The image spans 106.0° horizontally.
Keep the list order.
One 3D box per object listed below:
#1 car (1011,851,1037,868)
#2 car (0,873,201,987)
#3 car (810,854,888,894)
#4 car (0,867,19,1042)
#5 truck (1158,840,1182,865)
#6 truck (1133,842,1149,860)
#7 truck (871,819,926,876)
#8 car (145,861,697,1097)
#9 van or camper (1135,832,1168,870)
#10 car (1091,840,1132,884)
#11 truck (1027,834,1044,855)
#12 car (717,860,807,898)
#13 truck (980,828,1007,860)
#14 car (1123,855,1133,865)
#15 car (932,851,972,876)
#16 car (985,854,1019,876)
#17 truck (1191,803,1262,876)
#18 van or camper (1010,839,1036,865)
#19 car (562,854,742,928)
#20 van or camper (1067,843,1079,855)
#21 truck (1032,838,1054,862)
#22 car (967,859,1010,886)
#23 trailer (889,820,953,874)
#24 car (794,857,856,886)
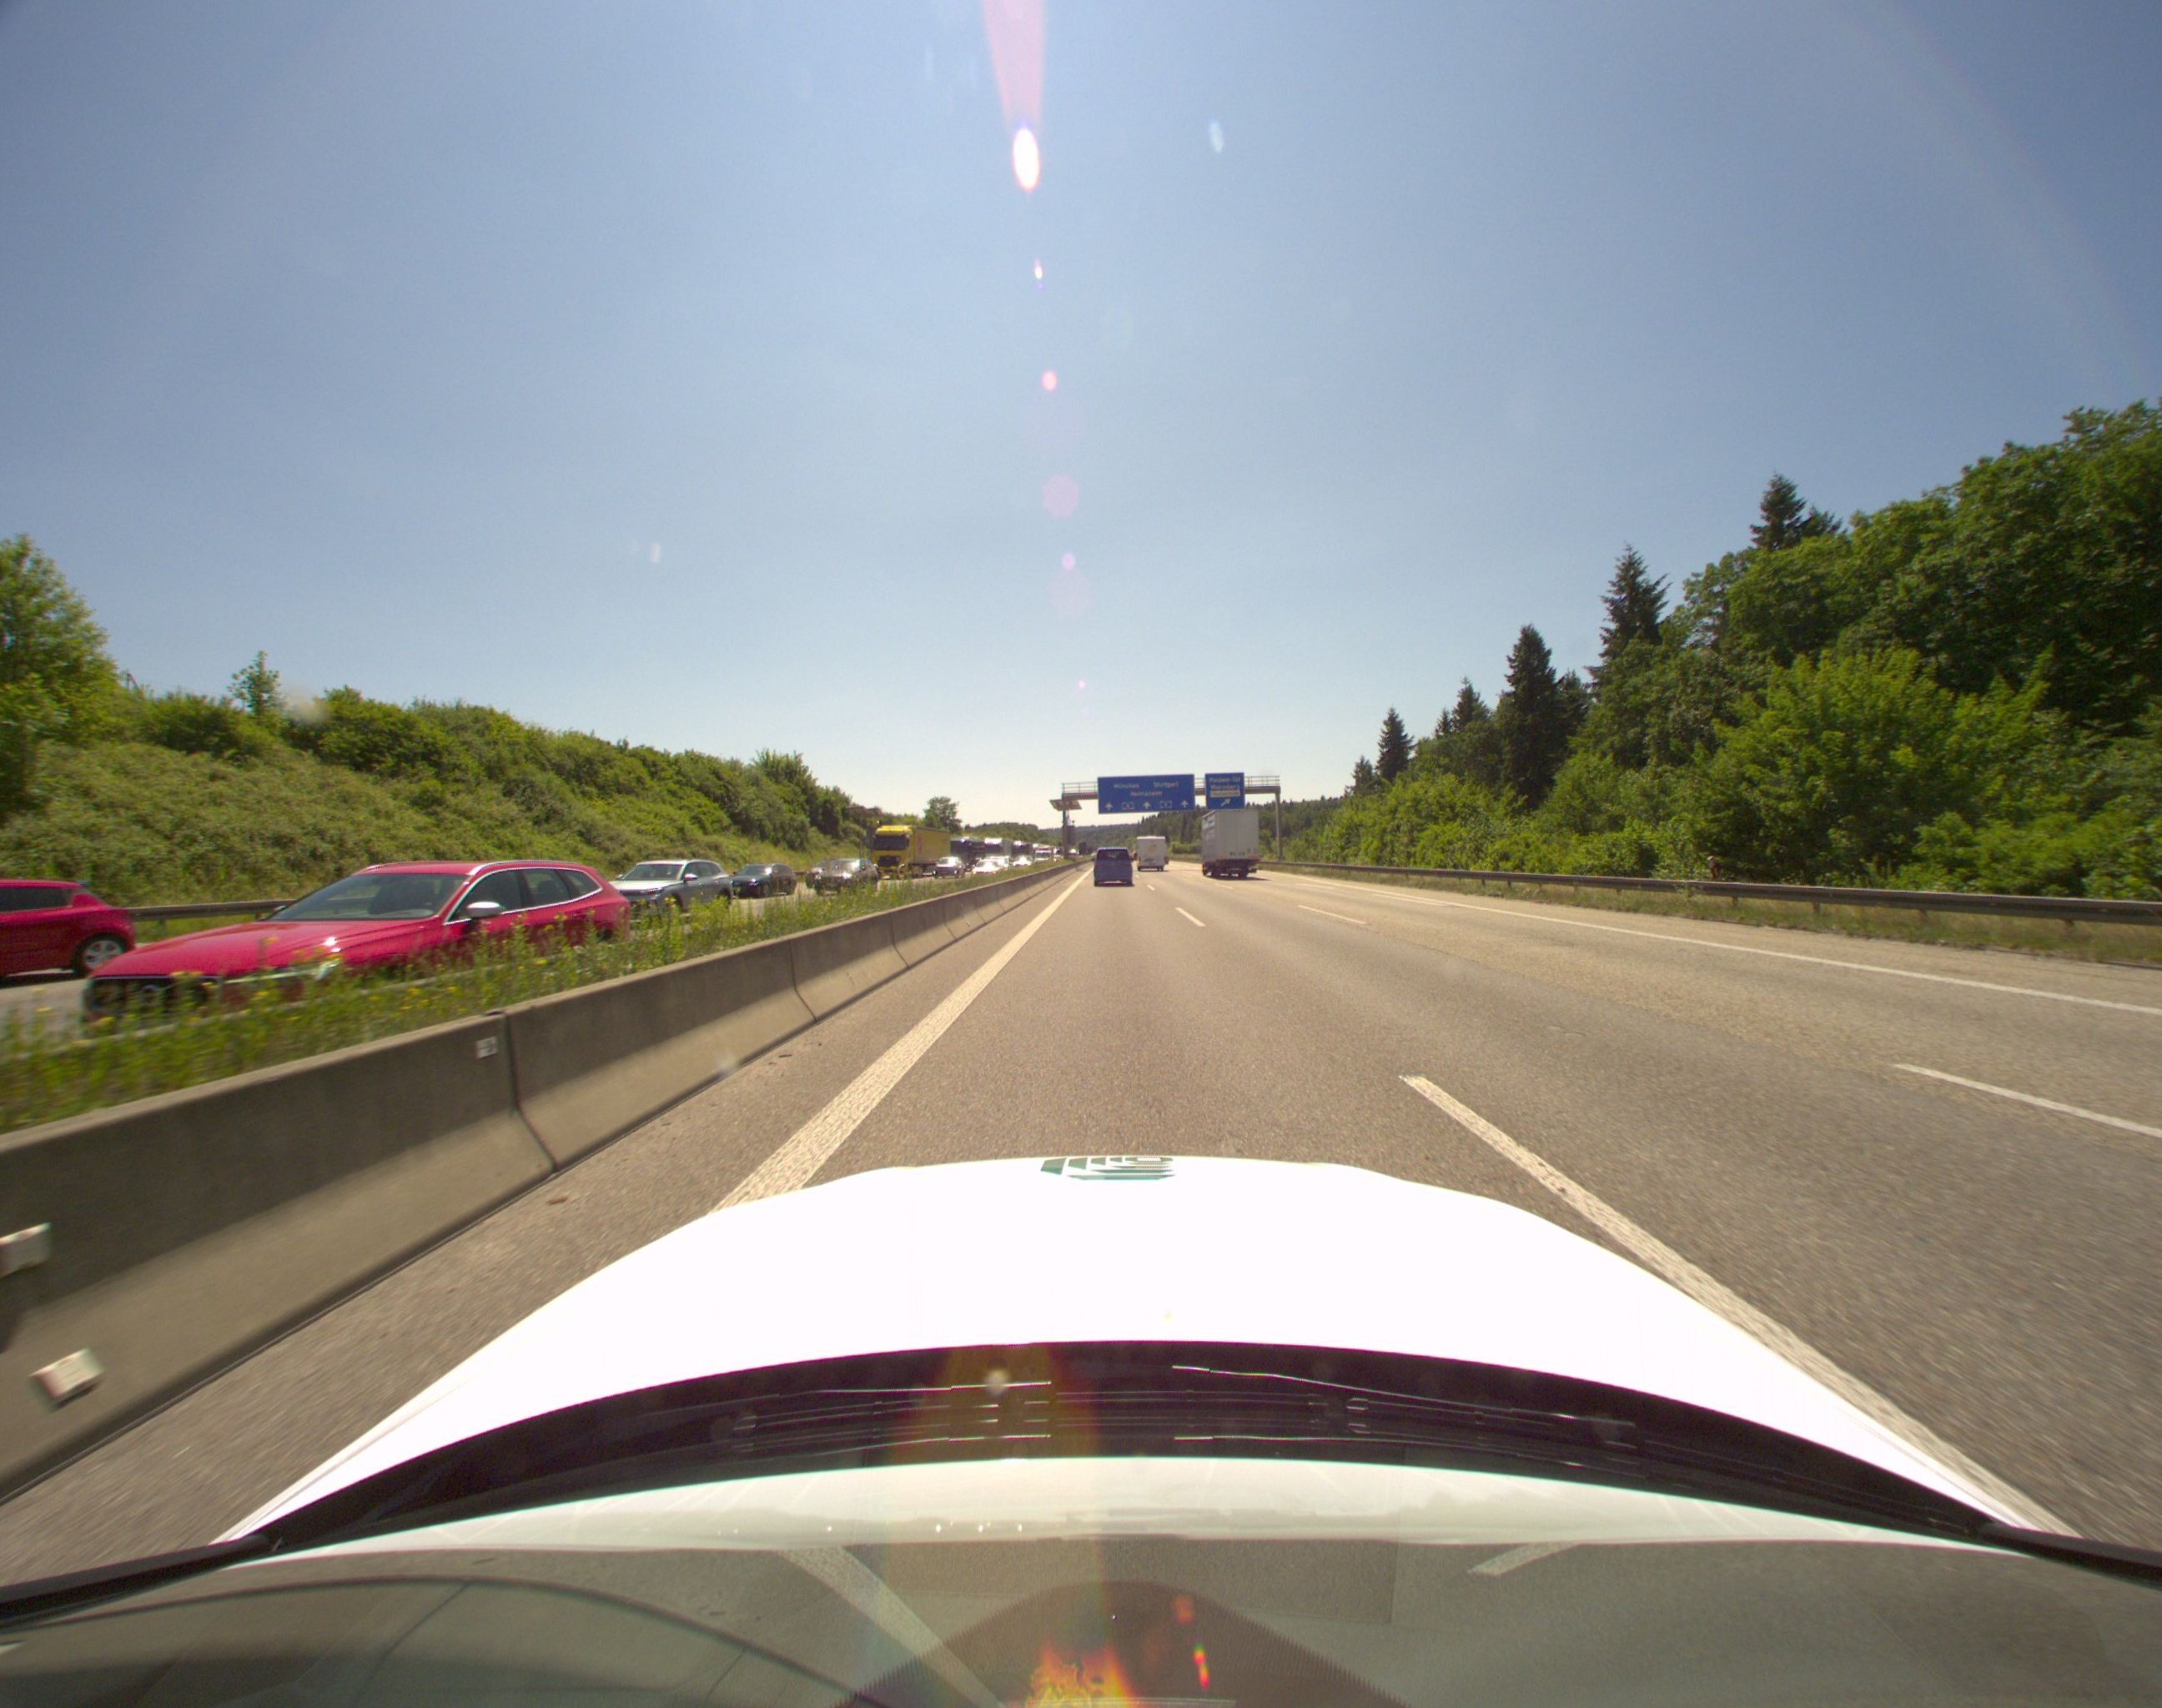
[{"bbox_3d":[-5.181,0.487,74.559,1.804,1.513,5.032,-1,0,2],"label":"car"},{"bbox_3d":[-15.214,1.043,11.125,1.804,1.467,4.124,-1,0,2],"label":"car"},{"bbox_3d":[-10.397,0.858,36.965,1.804,1.629,5.384,-1,0,2],"label":"car"},{"bbox_3d":[-11.115,0.938,5.158,1.804,1.629,5.222,-1,0,2],"label":"car"},{"bbox_3d":[13.342,-0.265,122.147,2.916,3.575,8.532,-3,1,3],"label":"truck"},{"bbox_3d":[13.711,-0.670,186.878,3.473,4.170,8.646,-1,0,2],"label":"truck"},{"bbox_3d":[-13.686,-0.446,61.466,2.592,4.064,6.134,-1,0,1],"label":"truck"},{"bbox_3d":[-6.233,0.980,8.736,1.822,1.764,4.990,-1,0,0],"label":"car"},{"bbox_3d":[6.239,-0.325,72.700,2.593,3.078,7.187,-1,2,2],"label":"van or camper"},{"bbox_3d":[1.507,0.395,40.656,1.902,2.014,4.001,-2,0,1],"label":"car"},{"bbox_3d":[-9.169,-1.787,164.096,2.790,4.128,6.144,-1,0,2],"label":"truck"},{"bbox_3d":[-13.572,1.009,35.019,1.804,1.513,4.800,-1,0,2],"label":"car"},{"bbox_3d":[-11.997,-1.319,112.036,2.771,4.114,7.031,-2,0,1],"label":"truck"},{"bbox_3d":[8.836,1.088,152.895,1.811,1.794,3.896,-1,0,2],"label":"car"},{"bbox_3d":[-9.651,0.675,61.334,1.855,1.752,5.904,-1,0,2],"label":"car"},{"bbox_3d":[-5.733,0.810,59.935,1.804,1.513,5.032,-1,0,2],"label":"car"},{"bbox_3d":[8.947,-0.795,51.292,2.774,4.128,9.738,-1,0,0],"label":"truck"},{"bbox_3d":[-7.894,-0.235,111.796,2.518,3.360,7.950,-1,0,3],"label":"van or camper"},{"bbox_3d":[-10.671,0.846,20.761,1.804,1.629,4.911,-1,0,2],"label":"car"},{"bbox_3d":[-1.728,-1.074,175.824,2.185,2.541,6.419,-2,0,2],"label":"van or camper"},{"bbox_3d":[-4.544,-0.443,97.759,2.112,2.842,6.215,-1,0,2],"label":"truck"},{"bbox_3d":[-5.523,1.064,49.150,1.804,1.513,4.820,-1,0,2],"label":"car"},{"bbox_3d":[-13.358,-0.489,69.192,2.640,4.144,11.863,-1,0,2],"label":"trailer"},{"bbox_3d":[-14.210,0.918,45.479,1.804,1.513,4.603,-1,0,2],"label":"car"}]
